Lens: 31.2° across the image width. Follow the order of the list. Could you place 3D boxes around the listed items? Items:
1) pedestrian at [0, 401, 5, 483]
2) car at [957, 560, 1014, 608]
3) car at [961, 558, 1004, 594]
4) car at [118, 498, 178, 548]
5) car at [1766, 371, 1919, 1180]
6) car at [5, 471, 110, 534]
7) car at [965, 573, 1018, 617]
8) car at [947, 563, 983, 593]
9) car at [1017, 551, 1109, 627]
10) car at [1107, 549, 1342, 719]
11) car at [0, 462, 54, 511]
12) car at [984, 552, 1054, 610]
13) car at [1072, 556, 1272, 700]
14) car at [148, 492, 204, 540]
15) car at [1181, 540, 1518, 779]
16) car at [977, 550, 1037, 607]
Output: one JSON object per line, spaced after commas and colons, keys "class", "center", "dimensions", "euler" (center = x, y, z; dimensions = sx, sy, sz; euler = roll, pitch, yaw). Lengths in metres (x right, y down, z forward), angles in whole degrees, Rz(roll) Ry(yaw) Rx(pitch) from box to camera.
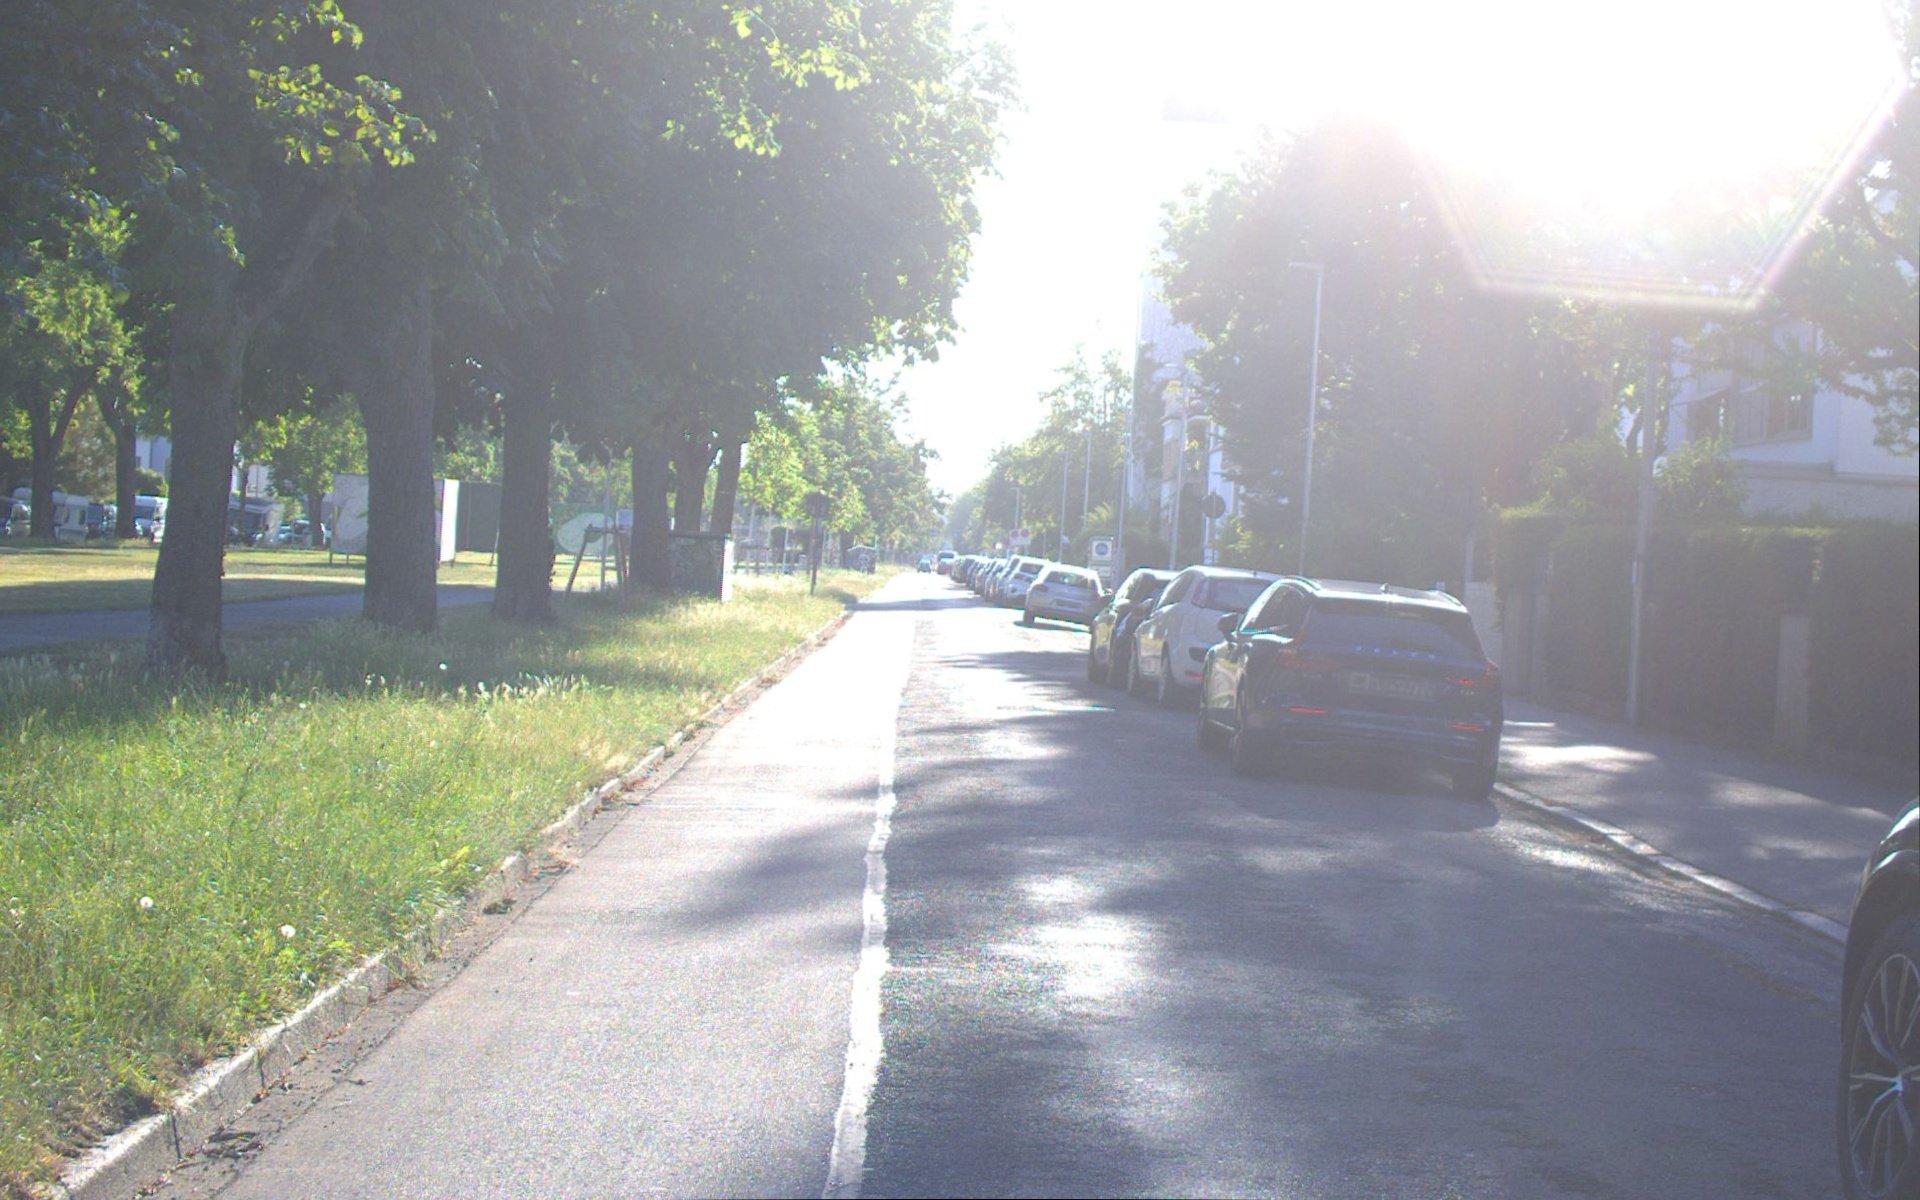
{"class": "pedestrian", "center": [-7.937, -0.693, 26.445], "dimensions": [0.724, 1.752, 0.993], "euler": [4, 1, 6]}
{"class": "car", "center": [0.884, -0.576, 121.927], "dimensions": [1.758, 1.599, 4.359], "euler": [3, 0, -2]}
{"class": "car", "center": [1.129, -1.187, 169.171], "dimensions": [1.993, 1.624, 4.000], "euler": [4, 0, 1]}
{"class": "car", "center": [-41.854, -3.965, 177.341], "dimensions": [1.993, 2.401, 4.363], "euler": [1, 0, 0]}
{"class": "car", "center": [3.116, 0.438, 6.058], "dimensions": [1.993, 1.731, 4.864], "euler": [4, 0, -2]}
{"class": "car", "center": [-35.099, -3.772, 133.848], "dimensions": [2.534, 2.229, 5.459], "euler": [3, 1, 0]}
{"class": "car", "center": [1.201, -0.215, 132.228], "dimensions": [1.761, 1.516, 4.000], "euler": [5, 0, -2]}
{"class": "car", "center": [0.300, -1.292, 203.444], "dimensions": [1.980, 1.677, 4.000], "euler": [4, 0, 1]}
{"class": "car", "center": [2.319, -0.254, 78.370], "dimensions": [1.757, 1.415, 4.072], "euler": [10, 0, 0]}
{"class": "car", "center": [2.703, 0.315, 36.025], "dimensions": [1.691, 1.478, 3.930], "euler": [8, 0, -5]}
{"class": "car", "center": [-43.458, -5.223, 158.788], "dimensions": [1.993, 2.007, 4.484], "euler": [-2, -1, -1]}
{"class": "car", "center": [1.718, -0.570, 101.594], "dimensions": [1.758, 1.599, 4.359], "euler": [3, 0, -2]}
{"class": "car", "center": [2.471, 0.295, 41.035], "dimensions": [1.749, 1.472, 4.289], "euler": [5, 0, -3]}
{"class": "car", "center": [-41.823, -4.447, 183.487], "dimensions": [1.993, 2.401, 4.363], "euler": [1, 0, 0]}
{"class": "car", "center": [2.791, 0.407, 25.651], "dimensions": [1.793, 1.487, 4.674], "euler": [4, 0, -1]}
{"class": "car", "center": [1.465, -0.706, 107.693], "dimensions": [1.685, 1.645, 4.100], "euler": [3, 1, -1]}
